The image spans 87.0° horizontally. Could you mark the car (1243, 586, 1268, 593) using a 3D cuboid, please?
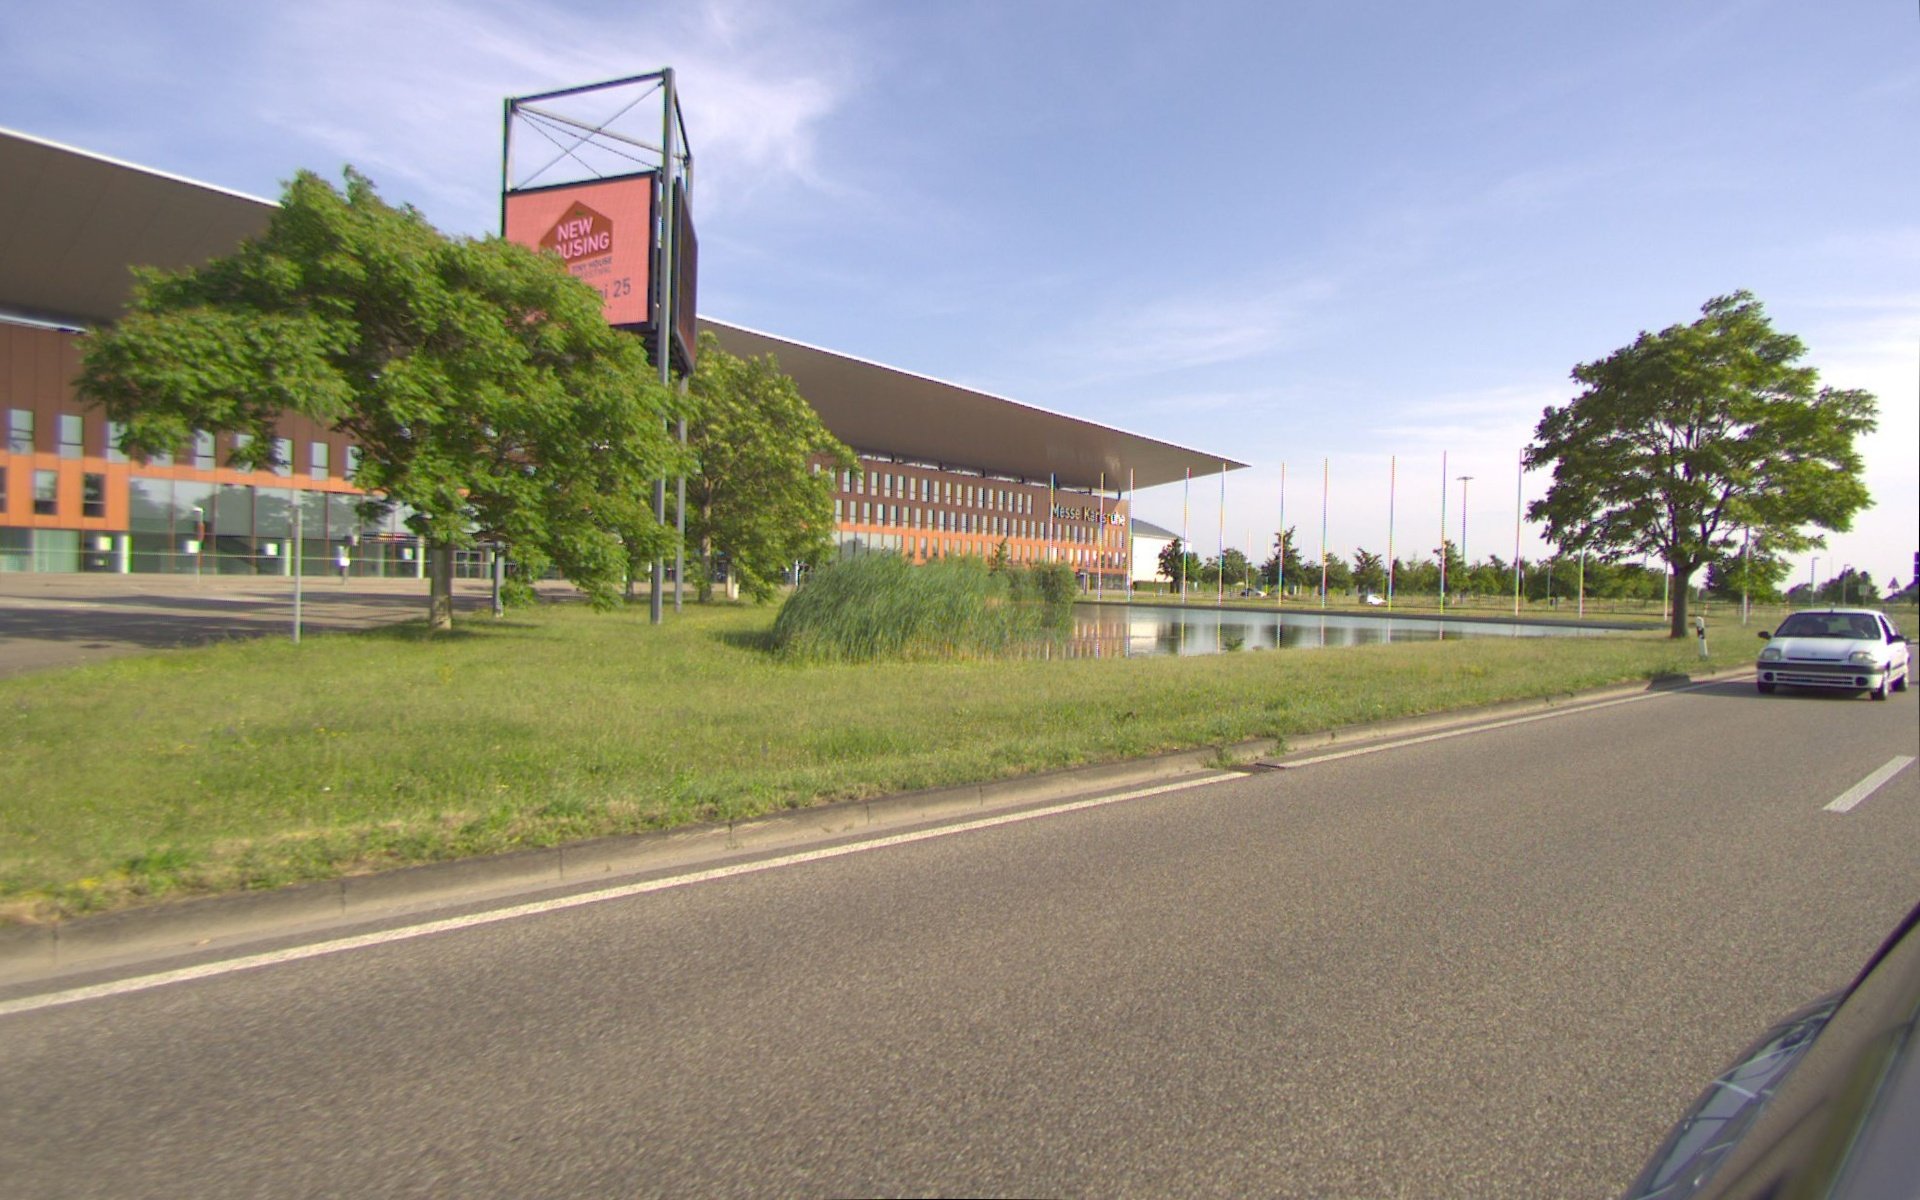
[{"bbox_3d":[53.373,-1.895,182.578,1.461,1.295,4.203,0,1,-43],"label":"car"}]

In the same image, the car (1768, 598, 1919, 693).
[{"bbox_3d":[14.813,0.683,16.789,3.391,1.396,1.577,0,1,-40],"label":"car"}]

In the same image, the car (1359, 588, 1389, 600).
[{"bbox_3d":[52.825,-0.723,129.001,3.492,1.473,1.714,1,0,-29],"label":"car"}]
